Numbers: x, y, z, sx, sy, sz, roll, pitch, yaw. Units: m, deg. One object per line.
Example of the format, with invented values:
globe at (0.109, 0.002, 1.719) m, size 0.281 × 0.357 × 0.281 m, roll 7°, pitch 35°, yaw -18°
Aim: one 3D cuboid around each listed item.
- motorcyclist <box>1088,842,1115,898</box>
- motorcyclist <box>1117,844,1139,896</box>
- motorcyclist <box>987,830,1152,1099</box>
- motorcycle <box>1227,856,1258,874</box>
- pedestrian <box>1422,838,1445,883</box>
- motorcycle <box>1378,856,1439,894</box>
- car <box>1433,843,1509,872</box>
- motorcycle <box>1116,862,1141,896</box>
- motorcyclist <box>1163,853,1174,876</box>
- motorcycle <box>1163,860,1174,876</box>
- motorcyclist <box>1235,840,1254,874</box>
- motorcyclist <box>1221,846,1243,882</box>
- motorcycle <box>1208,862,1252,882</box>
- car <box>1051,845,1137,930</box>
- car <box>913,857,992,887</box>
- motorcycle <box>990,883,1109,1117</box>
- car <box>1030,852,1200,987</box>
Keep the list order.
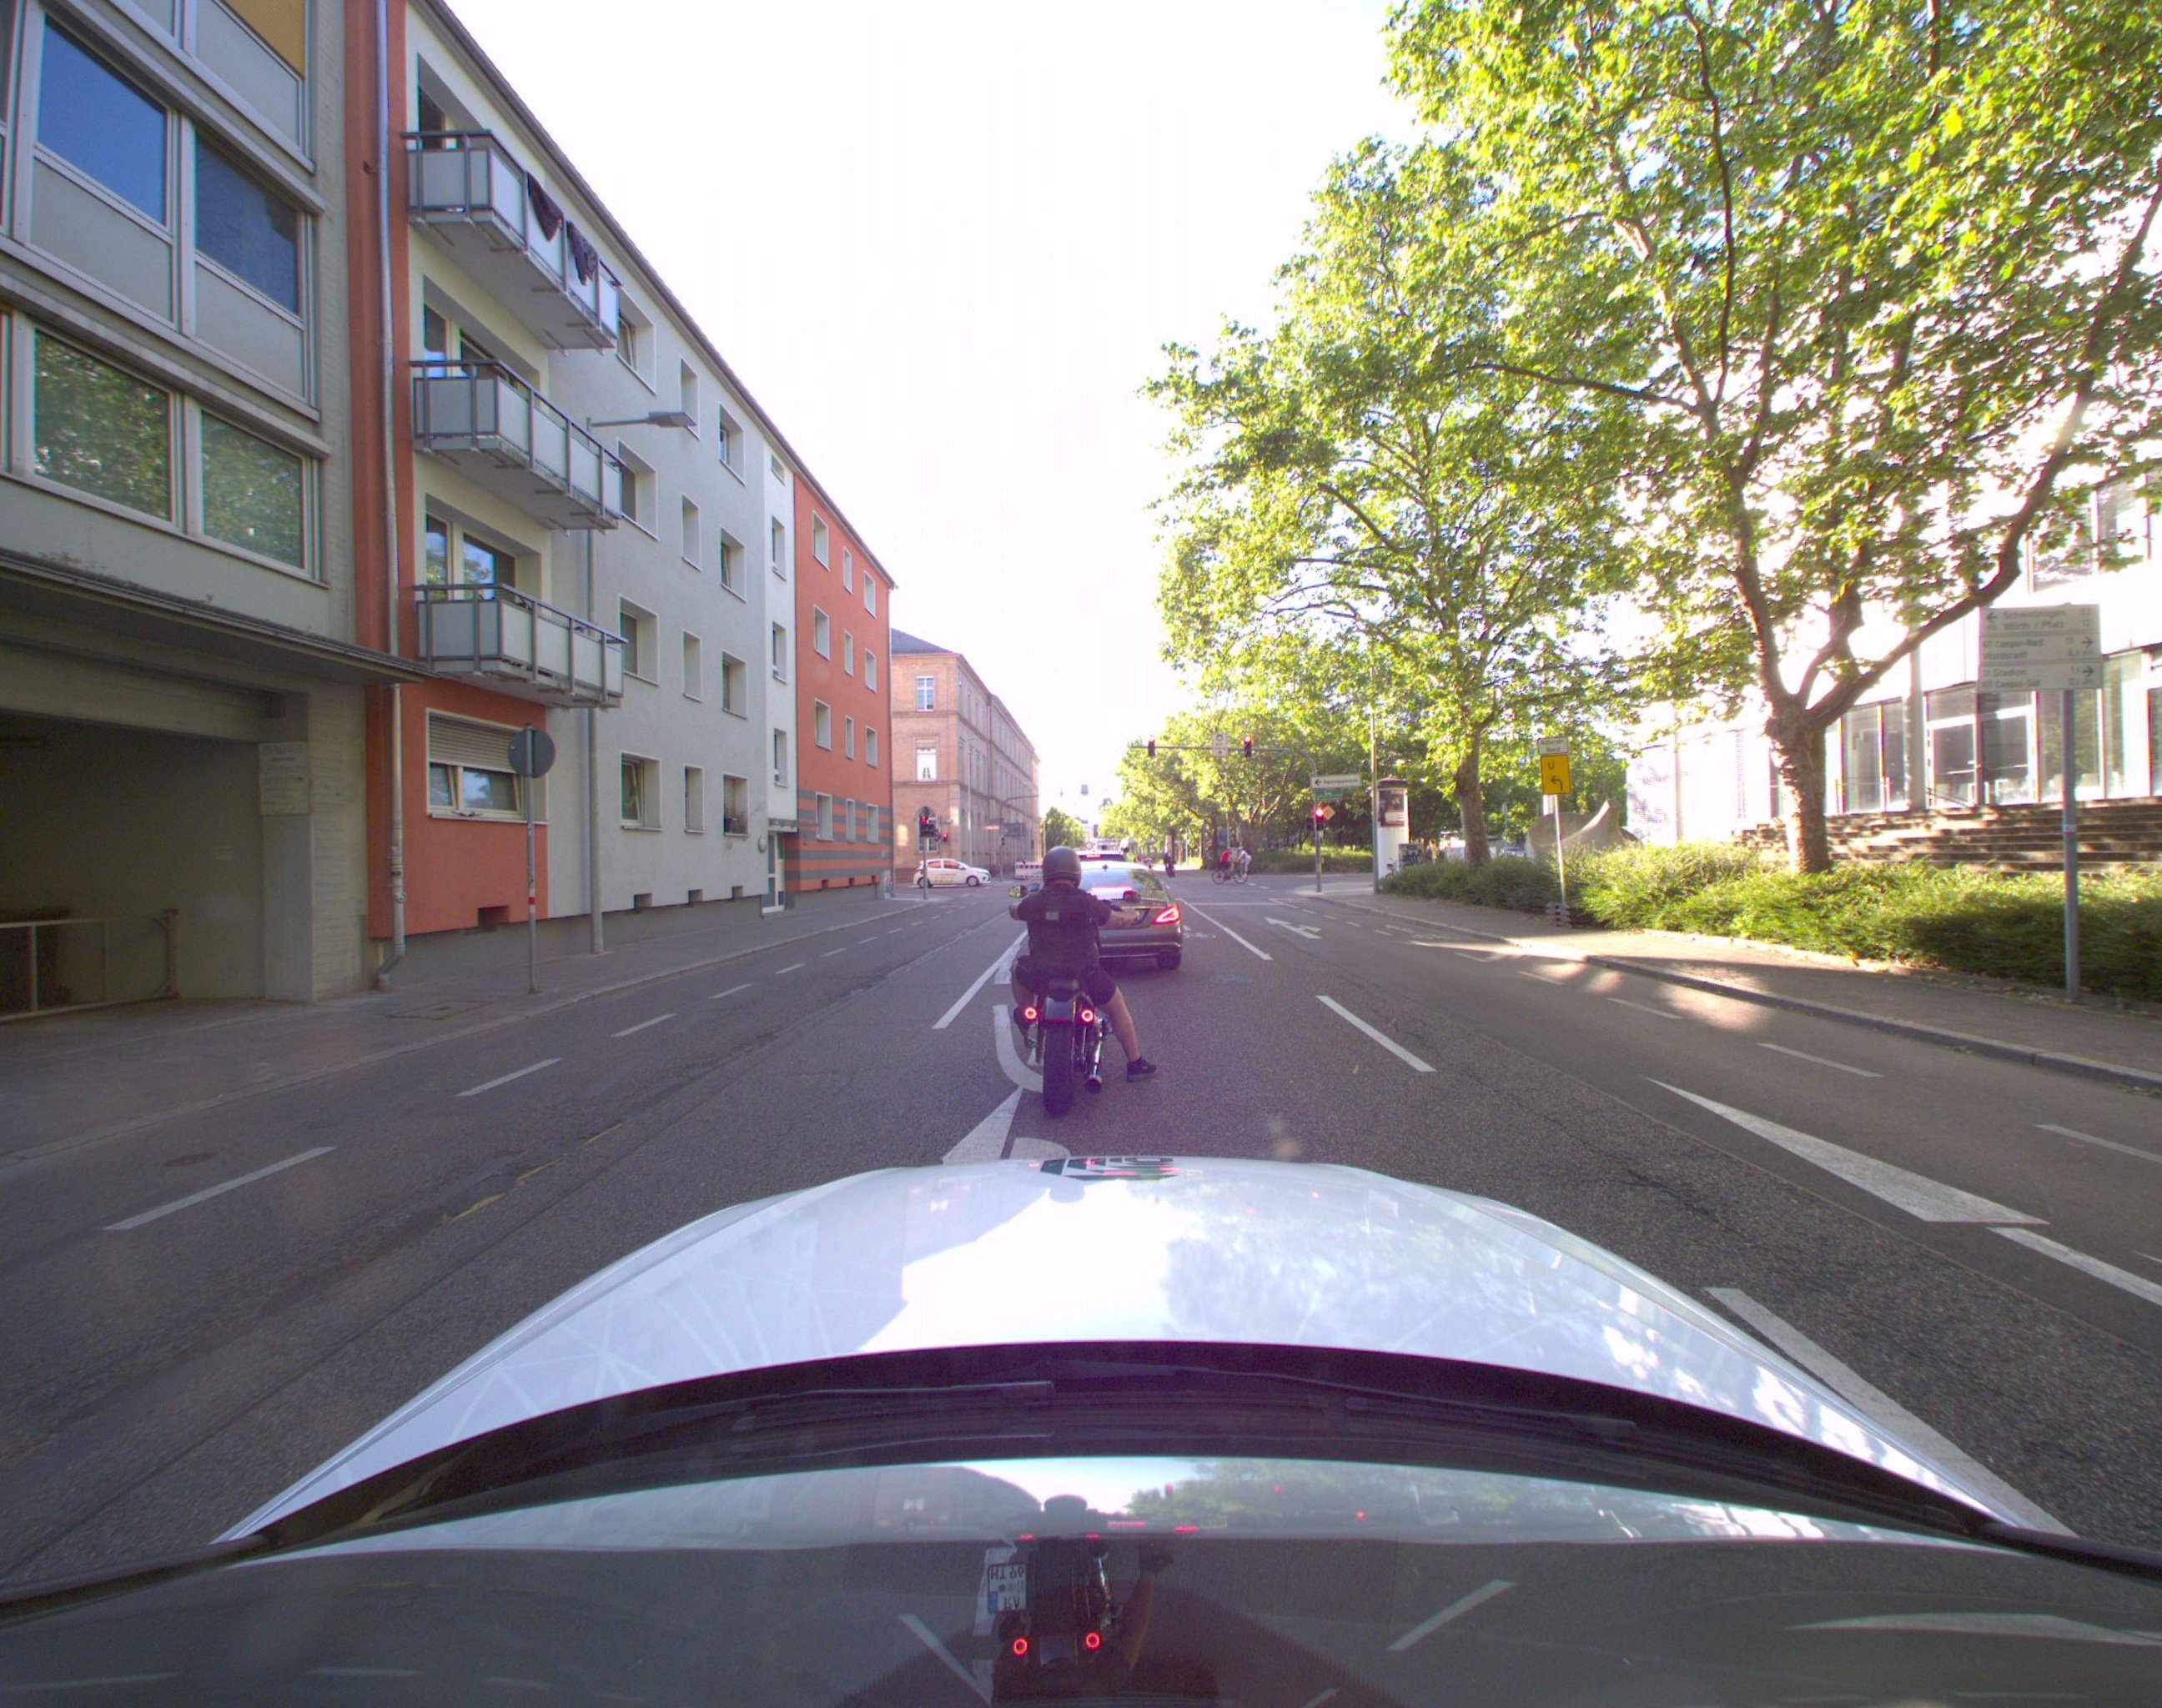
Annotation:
motorcyclist at (0.670, 0.505, 26.491) m, size 0.828 × 1.788 × 0.913 m, roll 0°, pitch -1°, yaw 1°
motorcyclist at (1.622, 0.548, 28.107) m, size 0.714 × 1.743 × 0.751 m, roll 0°, pitch -1°, yaw 1°
motorcyclist at (-0.055, 0.671, 5.467) m, size 0.986 × 1.611 × 1.121 m, roll 0°, pitch -1°, yaw 1°
motorcycle at (9.216, 0.611, 46.535) m, size 1.710 × 1.002 × 0.416 m, roll -1°, pitch 0°, yaw 6°
pedestrian at (14.695, 0.260, 33.938) m, size 0.645 × 1.827 × 0.667 m, roll -1°, pitch 0°, yaw 1°
motorcycle at (11.071, 0.714, 27.562) m, size 1.771 × 1.243 × 0.724 m, roll 0°, pitch -1°, yaw 7°
car at (24.630, 0.210, 51.540) m, size 3.974 × 1.772 × 1.738 m, roll -1°, pitch 0°, yaw -1°
motorcycle at (1.628, 0.837, 28.056) m, size 0.794 × 1.131 × 2.237 m, roll 0°, pitch -1°, yaw 2°
motorcyclist at (5.964, 0.706, 55.468) m, size 0.639 × 1.537 × 0.945 m, roll -1°, pitch -1°, yaw 9°
motorcycle at (5.953, 0.931, 55.353) m, size 0.622 × 1.097 × 2.093 m, roll -1°, pitch -1°, yaw 9°
motorcyclist at (9.345, 0.172, 46.514) m, size 0.978 × 1.876 × 0.377 m, roll -1°, pitch -1°, yaw 6°
motorcyclist at (7.201, 0.479, 38.916) m, size 0.981 × 1.722 × 0.551 m, roll 0°, pitch -1°, yaw 2°
motorcycle at (7.115, 0.858, 38.909) m, size 2.004 × 0.962 × 0.581 m, roll 0°, pitch -1°, yaw 2°
car at (0.320, 0.666, 17.806) m, size 1.645 × 1.652 × 4.002 m, roll 0°, pitch -1°, yaw 2°
car at (-6.492, 0.901, 41.357) m, size 3.734 × 1.418 × 1.439 m, roll -1°, pitch -1°, yaw -1°
motorcycle at (-0.143, 0.847, 5.560) m, size 0.657 × 1.240 × 2.058 m, roll 0°, pitch -1°, yaw 2°
car at (0.260, 0.745, 11.262) m, size 1.821 × 1.486 × 4.325 m, roll 0°, pitch 0°, yaw -5°
